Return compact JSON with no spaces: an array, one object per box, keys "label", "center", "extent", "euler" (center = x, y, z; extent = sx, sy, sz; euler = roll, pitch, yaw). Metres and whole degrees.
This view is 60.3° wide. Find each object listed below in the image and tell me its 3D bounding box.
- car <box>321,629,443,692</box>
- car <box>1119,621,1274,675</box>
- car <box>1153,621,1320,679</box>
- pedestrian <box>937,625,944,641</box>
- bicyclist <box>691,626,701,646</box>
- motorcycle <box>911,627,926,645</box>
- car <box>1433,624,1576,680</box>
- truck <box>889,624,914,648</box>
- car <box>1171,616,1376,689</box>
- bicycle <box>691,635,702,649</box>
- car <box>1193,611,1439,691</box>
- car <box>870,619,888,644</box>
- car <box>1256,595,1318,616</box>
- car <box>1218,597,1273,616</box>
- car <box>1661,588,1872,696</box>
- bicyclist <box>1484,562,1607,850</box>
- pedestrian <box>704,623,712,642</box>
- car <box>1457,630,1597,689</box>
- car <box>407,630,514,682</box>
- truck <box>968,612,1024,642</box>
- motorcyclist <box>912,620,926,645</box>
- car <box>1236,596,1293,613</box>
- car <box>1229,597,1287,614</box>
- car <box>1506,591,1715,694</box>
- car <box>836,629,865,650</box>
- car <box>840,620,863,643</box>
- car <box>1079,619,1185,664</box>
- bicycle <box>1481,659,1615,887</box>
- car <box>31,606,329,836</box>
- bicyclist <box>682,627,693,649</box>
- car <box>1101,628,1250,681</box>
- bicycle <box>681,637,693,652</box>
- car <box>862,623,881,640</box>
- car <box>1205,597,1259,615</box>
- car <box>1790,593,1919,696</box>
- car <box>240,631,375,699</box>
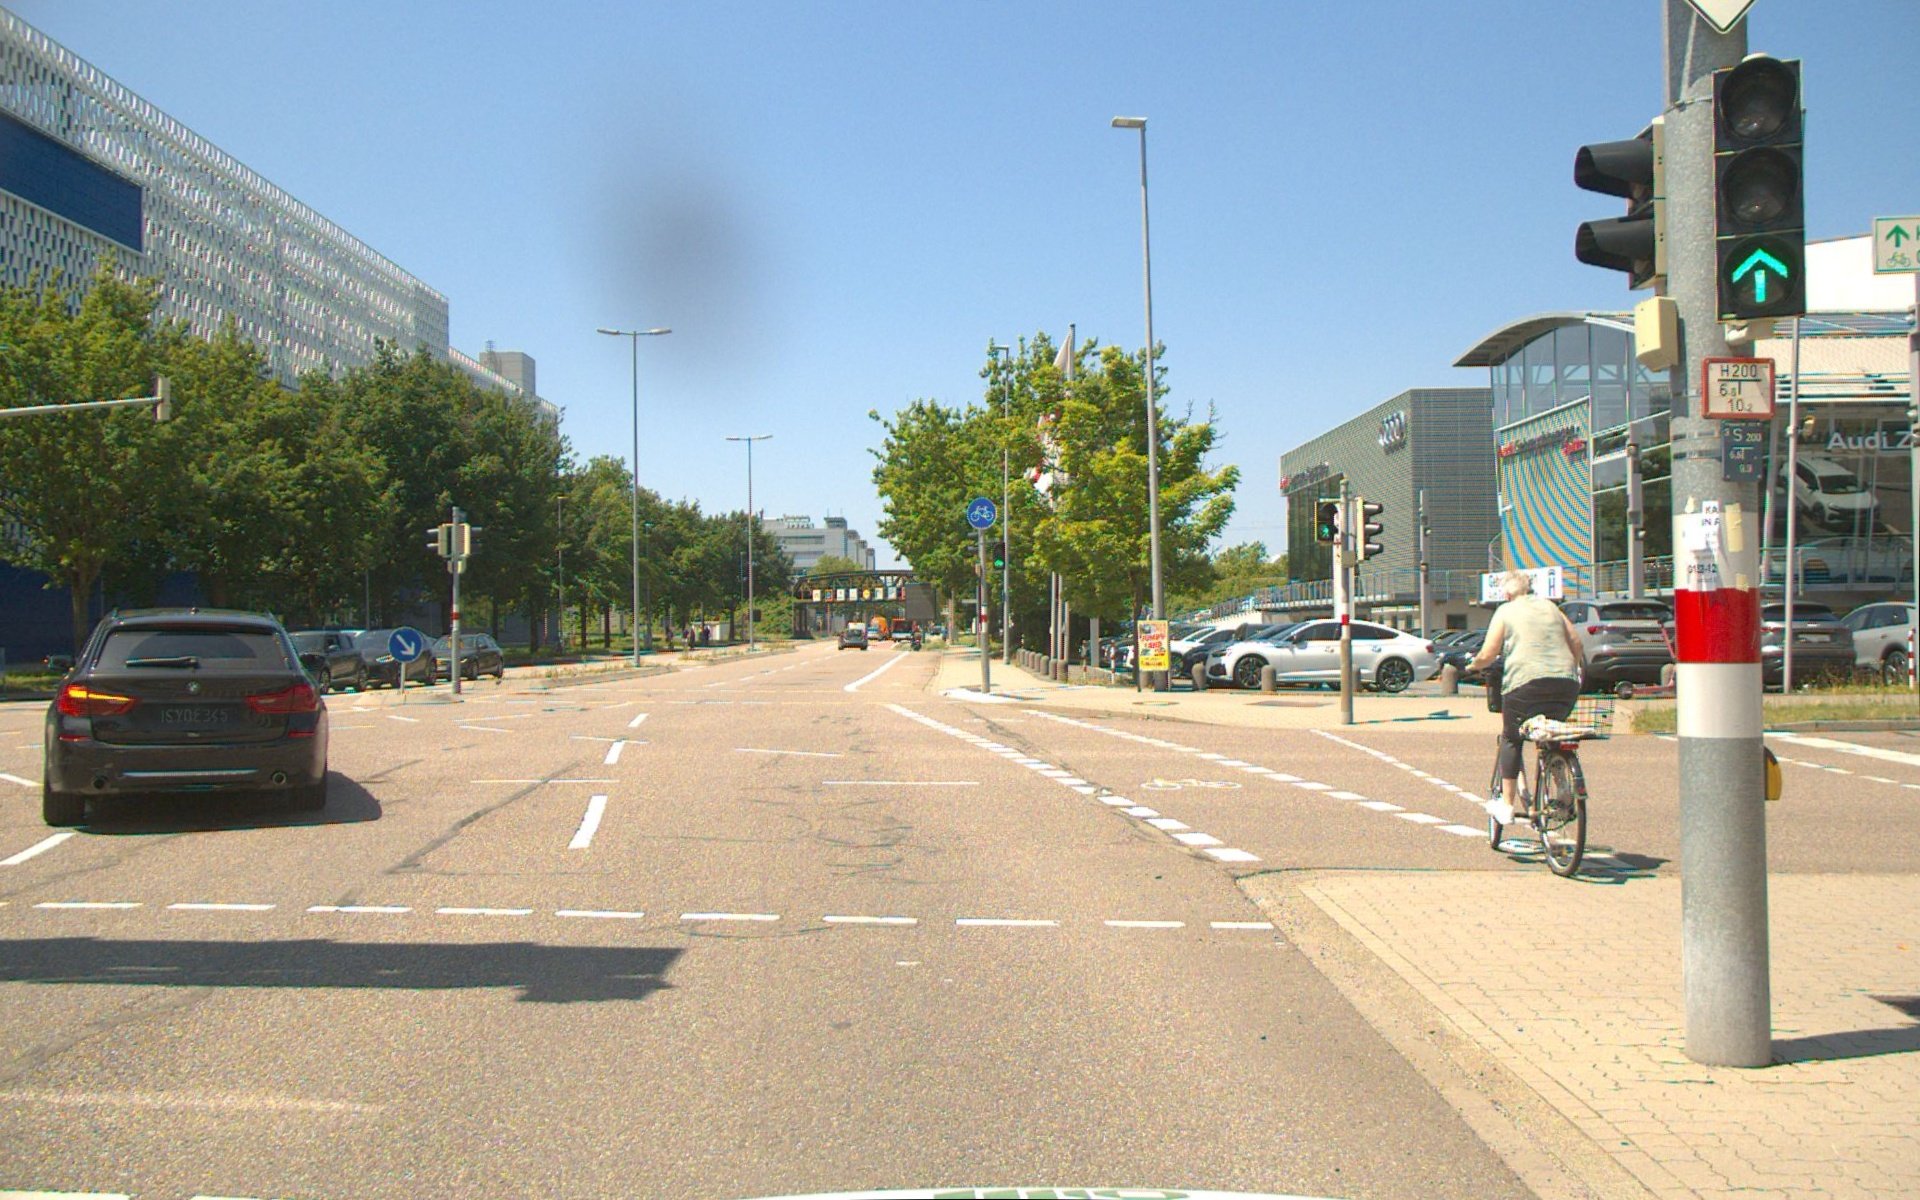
[{"label":"car","center":[-15.318,1.584,44.062],"extent":[1.691,1.531,4.242],"euler":[-3,-2,0]},{"label":"car","center":[6.551,1.330,46.143],"extent":[4.016,1.372,1.868],"euler":[2,-1,-1]},{"label":"car","center":[7.181,1.298,43.210],"extent":[4.012,1.388,1.874],"euler":[2,-1,-1]},{"label":"pedestrian","center":[-1.697,2.856,143.778],"extent":[0.611,1.399,0.564],"euler":[0,-1,-2]},{"label":"bicyclist","center":[-22.362,3.078,140.283],"extent":[0.621,1.657,1.044],"euler":[-2,-1,-2]},{"label":"motorcycle","center":[-2.631,2.262,105.317],"extent":[0.703,1.124,1.825],"euler":[1,-1,-10]},{"label":"car","center":[16.990,1.605,51.690],"extent":[3.901,1.601,1.633],"euler":[2,-1,-1]},{"label":"truck","center":[-6.102,3.718,173.218],"extent":[2.408,2.453,7.132],"euler":[1,-1,-1]},{"label":"car","center":[6.668,1.106,35.469],"extent":[4.012,1.415,1.868],"euler":[2,-1,-1]},{"label":"bicycle","center":[-22.342,3.580,140.303],"extent":[0.616,1.179,2.116],"euler":[-3,-1,-1]},{"label":"car","center":[7.001,0.997,32.898],"extent":[4.497,1.415,1.869],"euler":[2,-1,1]},{"label":"car","center":[-9.902,3.870,202.303],"extent":[2.031,2.905,6.762],"euler":[-1,-1,-2]},{"label":"car","center":[22.915,0.416,115.811],"extent":[3.909,1.335,1.795],"euler":[1,-1,-5]},{"label":"car","center":[22.294,0.533,129.168],"extent":[3.909,1.335,1.795],"euler":[1,-1,-5]},{"label":"car","center":[13.804,0.716,28.578],"extent":[1.806,1.683,3.999],"euler":[2,-1,2]},{"label":"bicyclist","center":[3.481,0.606,9.884],"extent":[0.614,1.634,0.826],"euler":[1,-1,15]},{"label":"pedestrian","center":[-25.110,3.261,164.701],"extent":[0.728,1.917,0.577],"euler":[-1,-1,0]},{"label":"car","center":[16.841,1.760,49.204],"extent":[3.573,1.608,1.642],"euler":[2,-1,-1]},{"label":"car","center":[-15.398,1.709,51.239],"extent":[1.691,1.471,4.720],"euler":[-3,-1,2]},{"label":"truck","center":[3.715,2.781,170.958],"extent":[5.490,2.900,2.619],"euler":[1,-1,-7]},{"label":"motorcyclist","center":[-2.619,2.054,105.335],"extent":[0.706,1.556,0.868],"euler":[1,-2,-10]},{"label":"car","center":[21.712,0.318,117.982],"extent":[3.652,1.150,1.682],"euler":[1,-1,-5]},{"label":"car","center":[21.822,0.392,121.077],"extent":[3.862,1.232,1.715],"euler":[0,-1,-5]},{"label":"car","center":[11.164,0.766,28.739],"extent":[1.830,1.586,4.503],"euler":[-2,-2,0]},{"label":"car","center":[-7.571,2.729,114.752],"extent":[1.862,1.400,4.230],"euler":[-1,-1,-2]},{"label":"car","center":[-9.822,2.888,149.773],"extent":[1.953,2.049,3.998],"euler":[0,-1,-2]},{"label":"car","center":[6.178,1.499,59.767],"extent":[3.606,1.479,1.833],"euler":[2,-1,-1]},{"label":"bicycle","center":[3.465,0.963,9.855],"extent":[0.614,1.153,1.896],"euler":[0,0,15]},{"label":"car","center":[-6.007,0.800,13.006],"extent":[1.773,1.466,4.523],"euler":[0,-1,-23]},{"label":"bicyclist","center":[-21.509,2.975,130.402],"extent":[0.730,1.715,0.951],"euler":[-1,-1,-4]},{"label":"car","center":[6.330,1.604,48.877],"extent":[4.140,1.415,1.868],"euler":[2,-1,-1]},{"label":"bicycle","center":[-21.502,3.530,130.463],"extent":[0.725,1.145,2.432],"euler":[-1,-1,-4]},{"label":"car","center":[-9.722,3.492,182.065],"extent":[1.856,1.848,3.999],"euler":[-1,-1,-1]},{"label":"car","center":[21.653,0.503,131.872],"extent":[3.909,1.335,1.795],"euler":[-1,-1,-5]},{"label":"car","center":[16.482,0.784,28.776],"extent":[1.808,1.683,3.994],"euler":[2,-1,-5]},{"label":"car","center":[-15.038,1.485,38.308],"extent":[1.610,1.413,3.715],"euler":[-3,-2,0]}]
